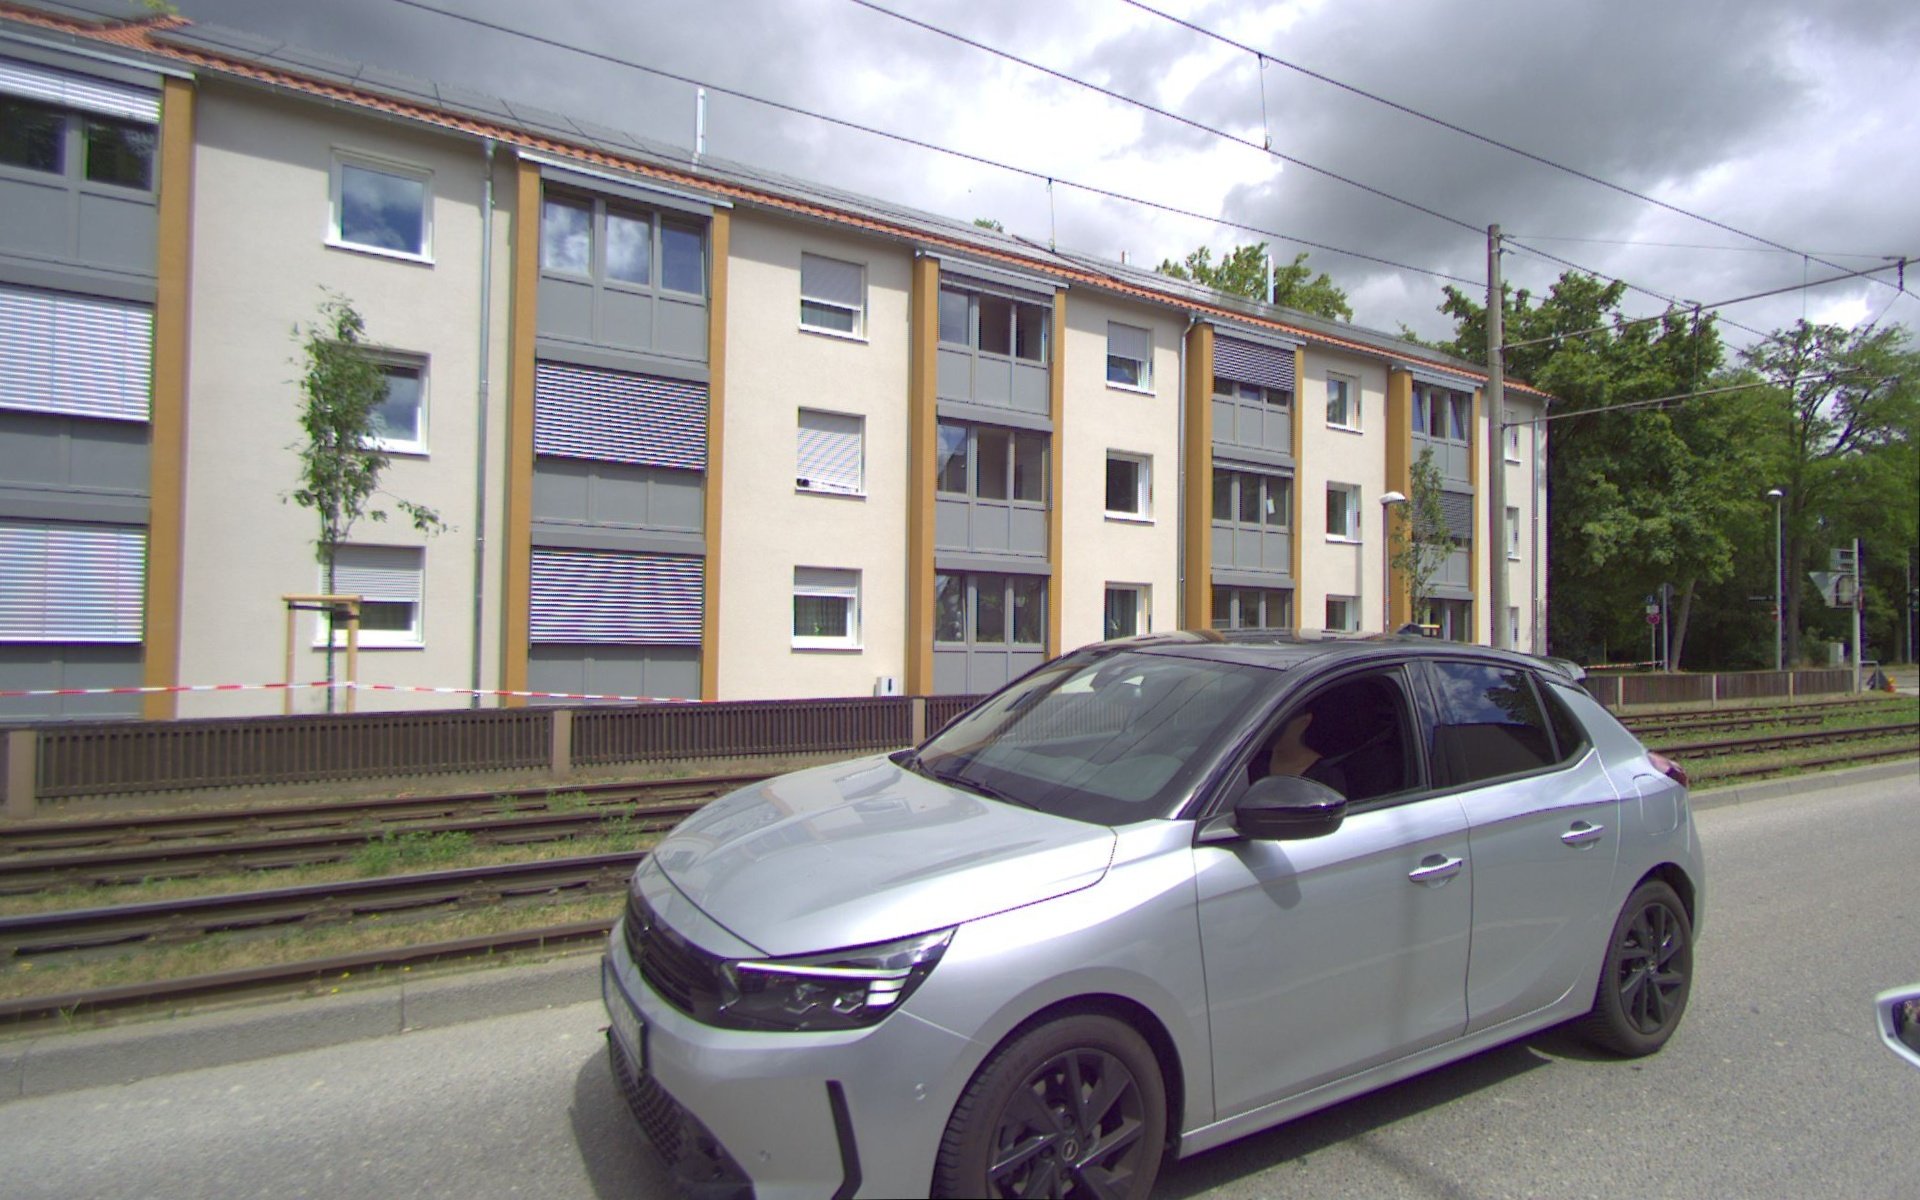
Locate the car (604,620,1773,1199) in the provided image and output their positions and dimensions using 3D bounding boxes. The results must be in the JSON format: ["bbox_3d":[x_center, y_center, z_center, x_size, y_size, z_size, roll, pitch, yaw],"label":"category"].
[{"bbox_3d":[0.958,0.820,3.552,3.937,1.436,1.722,1,-1,-30],"label":"car"}]
